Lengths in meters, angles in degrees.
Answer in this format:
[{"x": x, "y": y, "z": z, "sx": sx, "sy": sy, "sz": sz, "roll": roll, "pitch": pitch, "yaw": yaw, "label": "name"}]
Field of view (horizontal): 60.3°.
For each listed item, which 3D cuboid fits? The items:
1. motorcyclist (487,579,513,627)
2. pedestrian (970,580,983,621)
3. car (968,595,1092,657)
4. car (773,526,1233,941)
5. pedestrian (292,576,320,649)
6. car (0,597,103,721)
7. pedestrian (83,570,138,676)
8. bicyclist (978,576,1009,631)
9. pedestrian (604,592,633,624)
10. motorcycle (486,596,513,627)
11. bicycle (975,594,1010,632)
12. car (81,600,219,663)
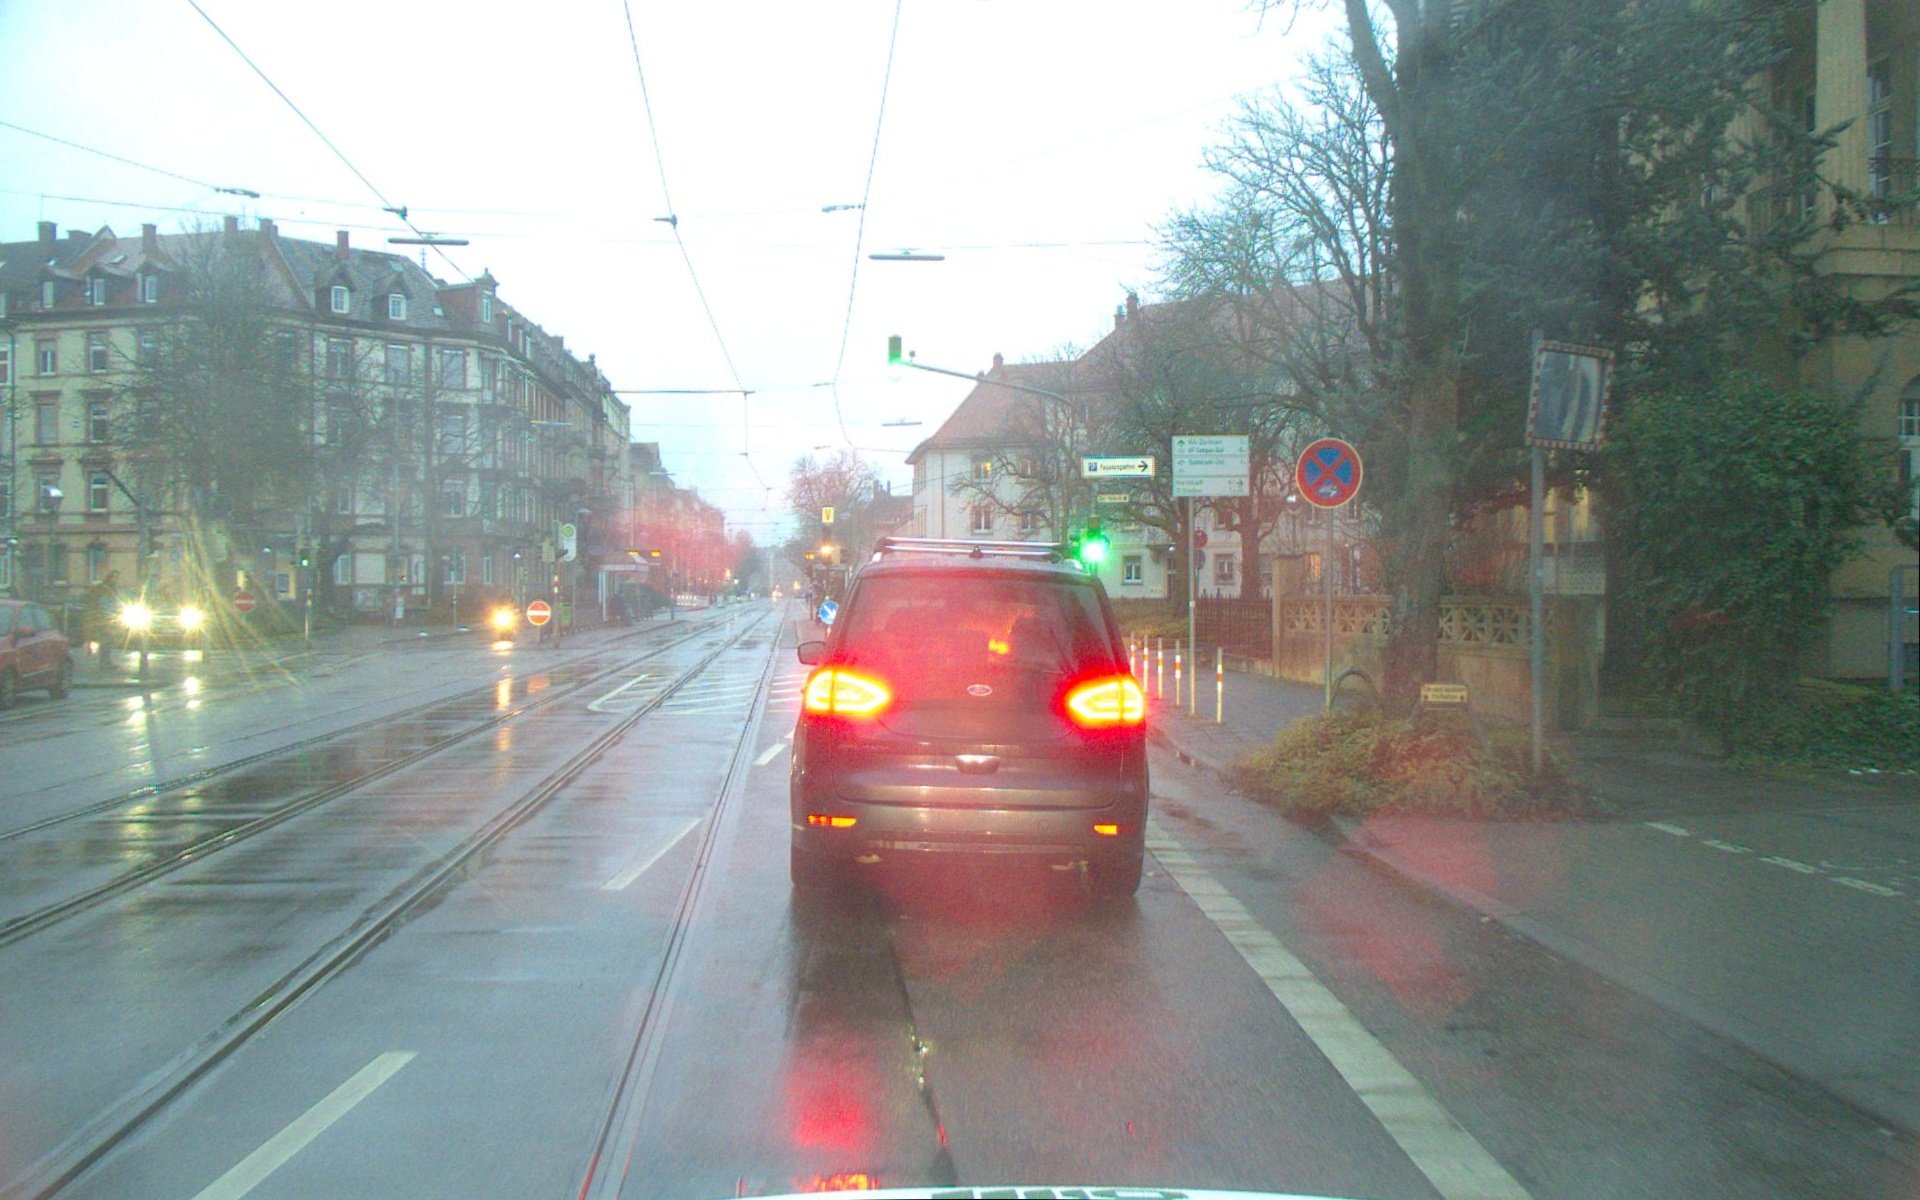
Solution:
[{"x": -15.184, "y": 0.097, "z": 54.592, "sx": 0.830, "sy": 1.575, "sz": 1.011, "roll": 0, "pitch": 0, "yaw": -16, "label": "motorcyclist"}, {"x": 0.833, "y": 0.041, "z": 83.483, "sx": 0.584, "sy": 2.049, "sz": 0.631, "roll": 0, "pitch": -1, "yaw": -1, "label": "pedestrian"}, {"x": 1.759, "y": 0.594, "z": 40.254, "sx": 1.631, "sy": 1.400, "sz": 3.997, "roll": 0, "pitch": 0, "yaw": 25, "label": "car"}, {"x": 0.073, "y": 0.601, "z": 9.852, "sx": 2.062, "sy": 1.848, "sz": 4.657, "roll": 1, "pitch": 0, "yaw": -3, "label": "car"}, {"x": -18.516, "y": 0.345, "z": 46.837, "sx": 0.695, "sy": 2.049, "sz": 0.655, "roll": 0, "pitch": 0, "yaw": -25, "label": "pedestrian"}, {"x": -14.687, "y": 0.807, "z": 24.883, "sx": 2.001, "sy": 1.578, "sz": 4.022, "roll": 3, "pitch": 0, "yaw": -10, "label": "car"}, {"x": -16.581, "y": 0.440, "z": 32.283, "sx": 0.742, "sy": 2.049, "sz": 0.646, "roll": 0, "pitch": -1, "yaw": 31, "label": "pedestrian"}, {"x": 1.057, "y": 0.115, "z": 52.378, "sx": 0.704, "sy": 1.691, "sz": 1.054, "roll": 3, "pitch": 0, "yaw": -10, "label": "bicyclist"}, {"x": -13.414, "y": 0.317, "z": 65.015, "sx": 1.027, "sy": 1.221, "sz": 0.884, "roll": 0, "pitch": -1, "yaw": -5, "label": "pedestrian"}, {"x": -15.160, "y": 0.368, "z": 54.494, "sx": 0.842, "sy": 1.009, "sz": 1.911, "roll": 0, "pitch": 0, "yaw": -15, "label": "motorcycle"}, {"x": 1.023, "y": 0.399, "z": 52.469, "sx": 0.704, "sy": 1.131, "sz": 1.937, "roll": 3, "pitch": 0, "yaw": -10, "label": "bicycle"}, {"x": -23.150, "y": 0.853, "z": 47.232, "sx": 3.921, "sy": 1.702, "sz": 2.014, "roll": 0, "pitch": 0, "yaw": 37, "label": "car"}]
